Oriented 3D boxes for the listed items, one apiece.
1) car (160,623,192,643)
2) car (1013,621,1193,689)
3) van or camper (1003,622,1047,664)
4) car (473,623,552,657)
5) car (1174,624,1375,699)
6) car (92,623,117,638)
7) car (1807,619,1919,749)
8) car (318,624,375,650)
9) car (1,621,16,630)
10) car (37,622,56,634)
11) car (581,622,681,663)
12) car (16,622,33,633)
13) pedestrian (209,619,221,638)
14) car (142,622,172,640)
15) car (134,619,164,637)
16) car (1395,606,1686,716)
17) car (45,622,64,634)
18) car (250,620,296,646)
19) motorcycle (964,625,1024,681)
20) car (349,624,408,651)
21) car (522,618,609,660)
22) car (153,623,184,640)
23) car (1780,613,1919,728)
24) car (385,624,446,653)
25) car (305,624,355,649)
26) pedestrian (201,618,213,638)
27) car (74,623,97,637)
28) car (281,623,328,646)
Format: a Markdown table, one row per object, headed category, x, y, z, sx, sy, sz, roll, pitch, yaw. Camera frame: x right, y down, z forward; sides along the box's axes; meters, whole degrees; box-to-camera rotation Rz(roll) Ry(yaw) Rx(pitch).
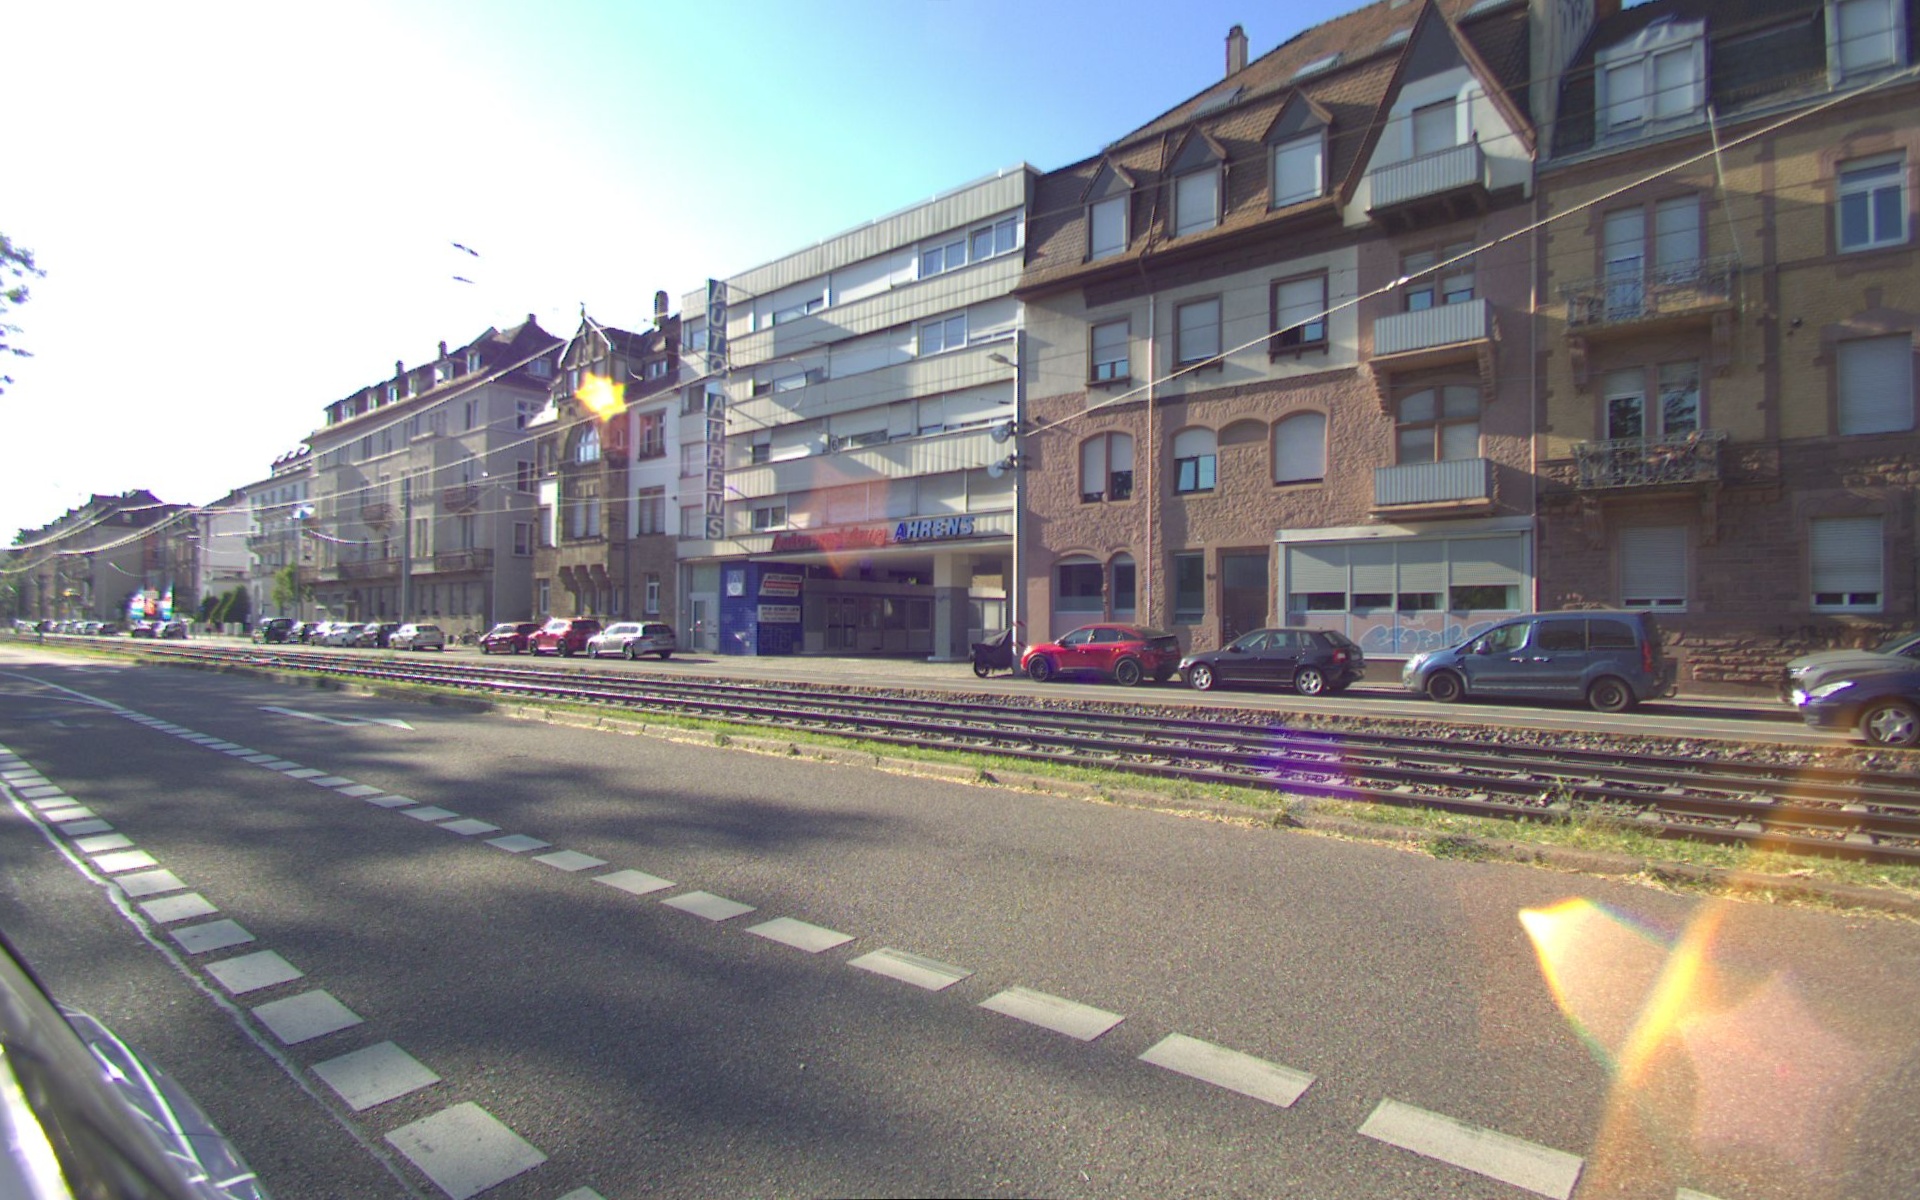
| category | x | y | z | sx | sy | sz | roll | pitch | yaw |
| --- | --- | --- | --- | --- | --- | --- | --- | --- | --- |
| car | -69.591 | 2.904 | 89.848 | 3.407 | 1.644 | 1.655 | -1 | -1 | 42 |
| car | 3.596 | 1.346 | 25.813 | 4.207 | 1.510 | 1.837 | -1 | 1 | 40 |
| van or camper | 2.172 | 1.428 | 33.648 | 0.803 | 1.368 | 1.410 | -1 | -2 | 41 |
| car | -21.200 | 1.875 | 47.904 | 3.722 | 1.507 | 1.736 | -1 | 0 | 35 |
| car | 6.929 | 1.296 | 22.502 | 3.925 | 1.448 | 1.678 | -1 | 1 | 40 |
| car | -96.554 | 3.384 | 114.216 | 3.449 | 1.602 | 1.603 | -1 | -1 | 41 |
| car | 12.236 | 0.957 | 11.354 | 4.163 | 1.468 | 1.801 | -1 | -2 | 40 |
| car | -37.424 | 2.239 | 61.718 | 3.530 | 1.457 | 1.624 | -1 | -1 | 34 |
| car | -163.093 | 4.369 | 173.492 | 3.449 | 1.602 | 1.603 | -1 | -1 | 41 |
| car | -129.583 | 3.945 | 143.547 | 3.449 | 1.602 | 1.603 | -1 | -1 | 41 |
| car | -13.337 | 1.693 | 40.937 | 4.379 | 1.510 | 1.837 | -1 | 0 | 40 |
| car | -143.500 | 4.161 | 155.184 | 3.449 | 1.602 | 1.603 | -1 | -1 | 41 |
| pedestrian | -69.471 | 2.635 | 94.400 | 0.677 | 1.803 | 0.716 | -1 | -2 | 40 |
| car | -77.108 | 2.955 | 97.150 | 3.387 | 1.583 | 1.662 | -1 | -1 | 41 |
| car | -80.980 | 2.781 | 101.009 | 3.879 | 1.800 | 1.705 | -1 | -1 | 41 |
| car | 10.831 | 1.050 | 19.089 | 4.418 | 1.772 | 1.865 | -1 | 1 | 44 |
| car | -125.651 | 3.902 | 140.442 | 3.449 | 1.602 | 1.603 | -1 | -1 | 41 |
| car | -49.417 | 2.340 | 72.792 | 3.914 | 1.750 | 1.851 | -1 | -1 | 42 |
| motorcycle | 0.957 | 1.468 | 28.422 | 0.628 | 1.433 | 1.836 | -2 | -1 | 41 |
| car | -34.072 | 2.176 | 59.309 | 3.819 | 1.441 | 1.779 | -1 | -1 | 40 |
| car | -17.359 | 1.674 | 44.470 | 4.262 | 1.700 | 1.836 | -1 | 0 | 42 |
| car | -73.315 | 2.903 | 93.735 | 3.387 | 1.583 | 1.662 | -1 | -1 | 41 |
| car | 15.290 | 1.037 | 15.256 | 4.499 | 1.635 | 1.837 | -1 | 1 | 40 |
| car | -30.033 | 2.109 | 55.778 | 3.822 | 1.490 | 1.778 | -1 | -1 | 42 |
| car | -40.755 | 2.328 | 65.431 | 3.822 | 1.490 | 1.778 | -1 | -1 | 42 |
| pedestrian | -69.897 | 2.595 | 93.932 | 0.677 | 1.803 | 0.716 | -1 | -2 | 40 |
| car | -103.686 | 3.493 | 120.014 | 3.449 | 1.602 | 1.603 | -1 | -1 | 41 |
| car | -45.065 | 2.357 | 69.537 | 3.822 | 1.490 | 1.778 | -1 | -1 | 42 |
